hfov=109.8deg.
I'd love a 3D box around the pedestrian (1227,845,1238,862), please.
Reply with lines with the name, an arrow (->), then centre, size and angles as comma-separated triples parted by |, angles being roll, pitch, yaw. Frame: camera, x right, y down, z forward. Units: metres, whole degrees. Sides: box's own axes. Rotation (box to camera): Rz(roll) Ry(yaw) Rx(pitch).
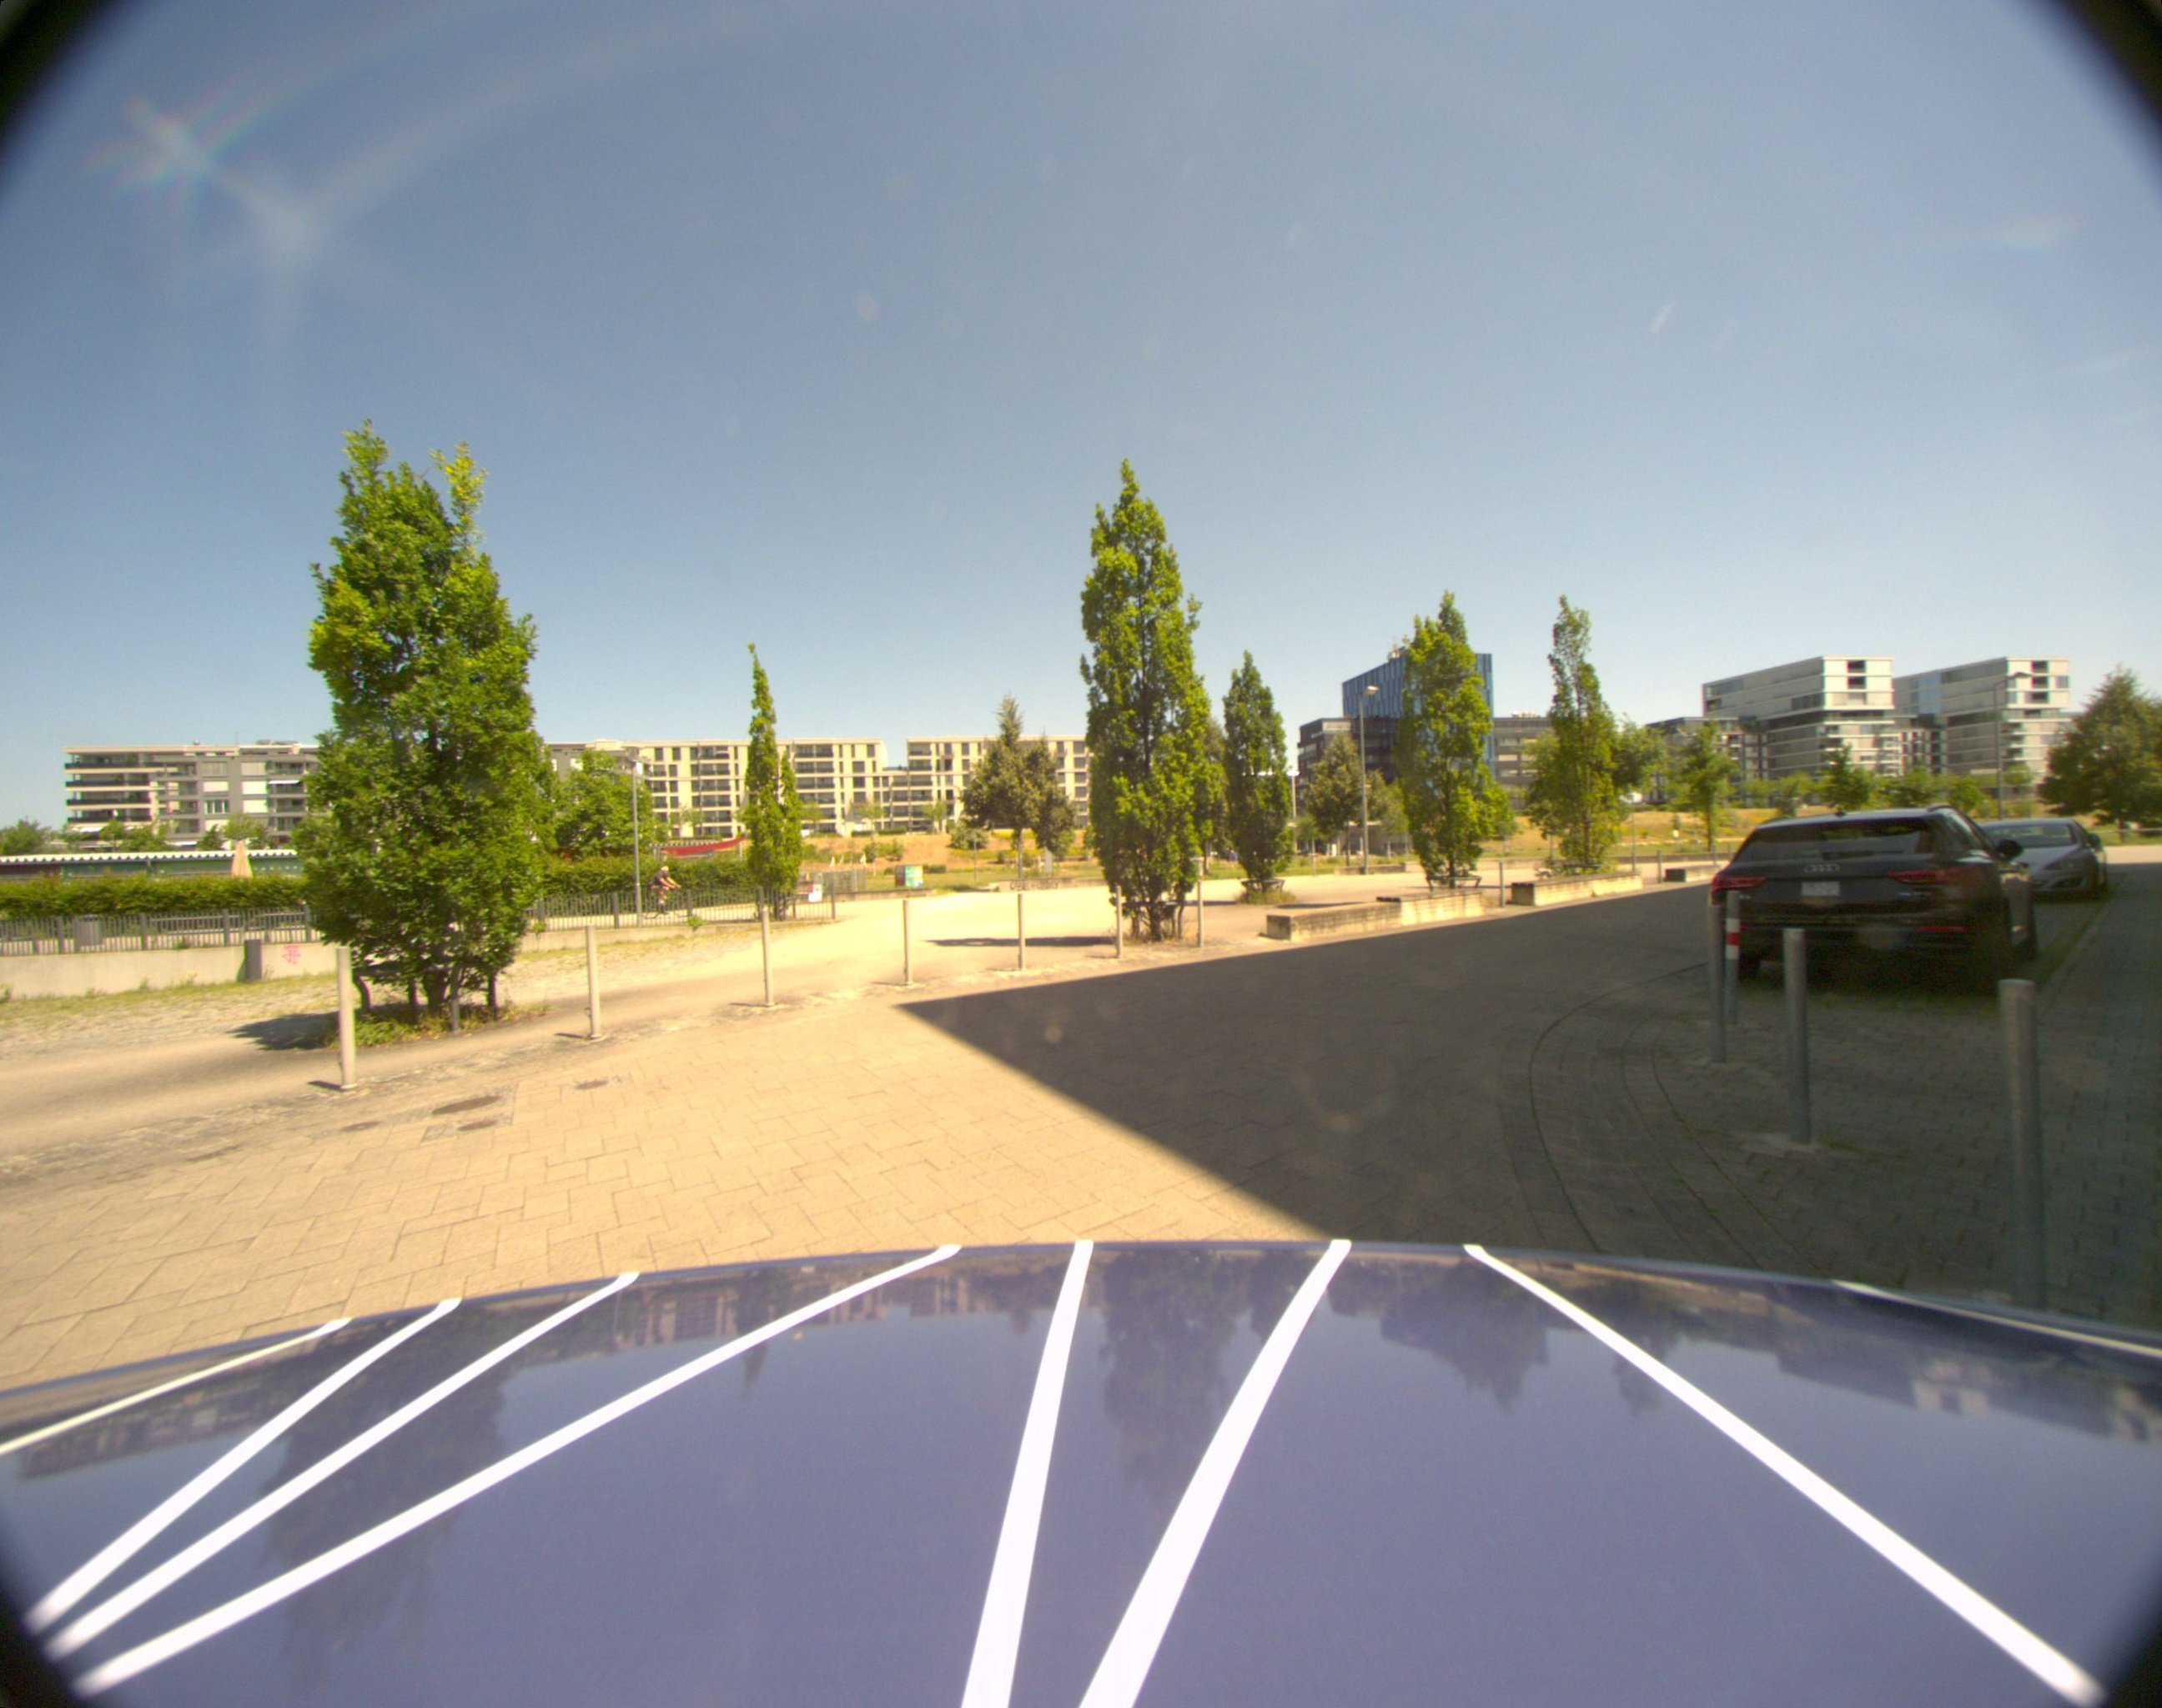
pedestrian -> 15.078, -0.037, 75.706 | 0.813, 1.717, 0.616 | -2, 0, 33

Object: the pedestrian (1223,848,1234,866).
pedestrian -> 13.986, 0.284, 72.138 | 0.813, 1.717, 0.616 | -2, 0, 33

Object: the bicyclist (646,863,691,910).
bicyclist -> -13.235, 1.033, 24.390 | 0.882, 1.447, 0.860 | -3, 1, 4

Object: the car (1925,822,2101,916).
car -> 17.426, 0.236, 14.161 | 4.122, 1.496, 1.784 | -2, -2, -36

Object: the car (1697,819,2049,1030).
car -> 7.923, 0.488, 7.476 | 4.404, 1.510, 1.775 | -2, -1, -36

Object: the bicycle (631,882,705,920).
bicycle -> -13.240, 1.504, 24.408 | 1.913, 1.111, 0.799 | -3, 1, 4
